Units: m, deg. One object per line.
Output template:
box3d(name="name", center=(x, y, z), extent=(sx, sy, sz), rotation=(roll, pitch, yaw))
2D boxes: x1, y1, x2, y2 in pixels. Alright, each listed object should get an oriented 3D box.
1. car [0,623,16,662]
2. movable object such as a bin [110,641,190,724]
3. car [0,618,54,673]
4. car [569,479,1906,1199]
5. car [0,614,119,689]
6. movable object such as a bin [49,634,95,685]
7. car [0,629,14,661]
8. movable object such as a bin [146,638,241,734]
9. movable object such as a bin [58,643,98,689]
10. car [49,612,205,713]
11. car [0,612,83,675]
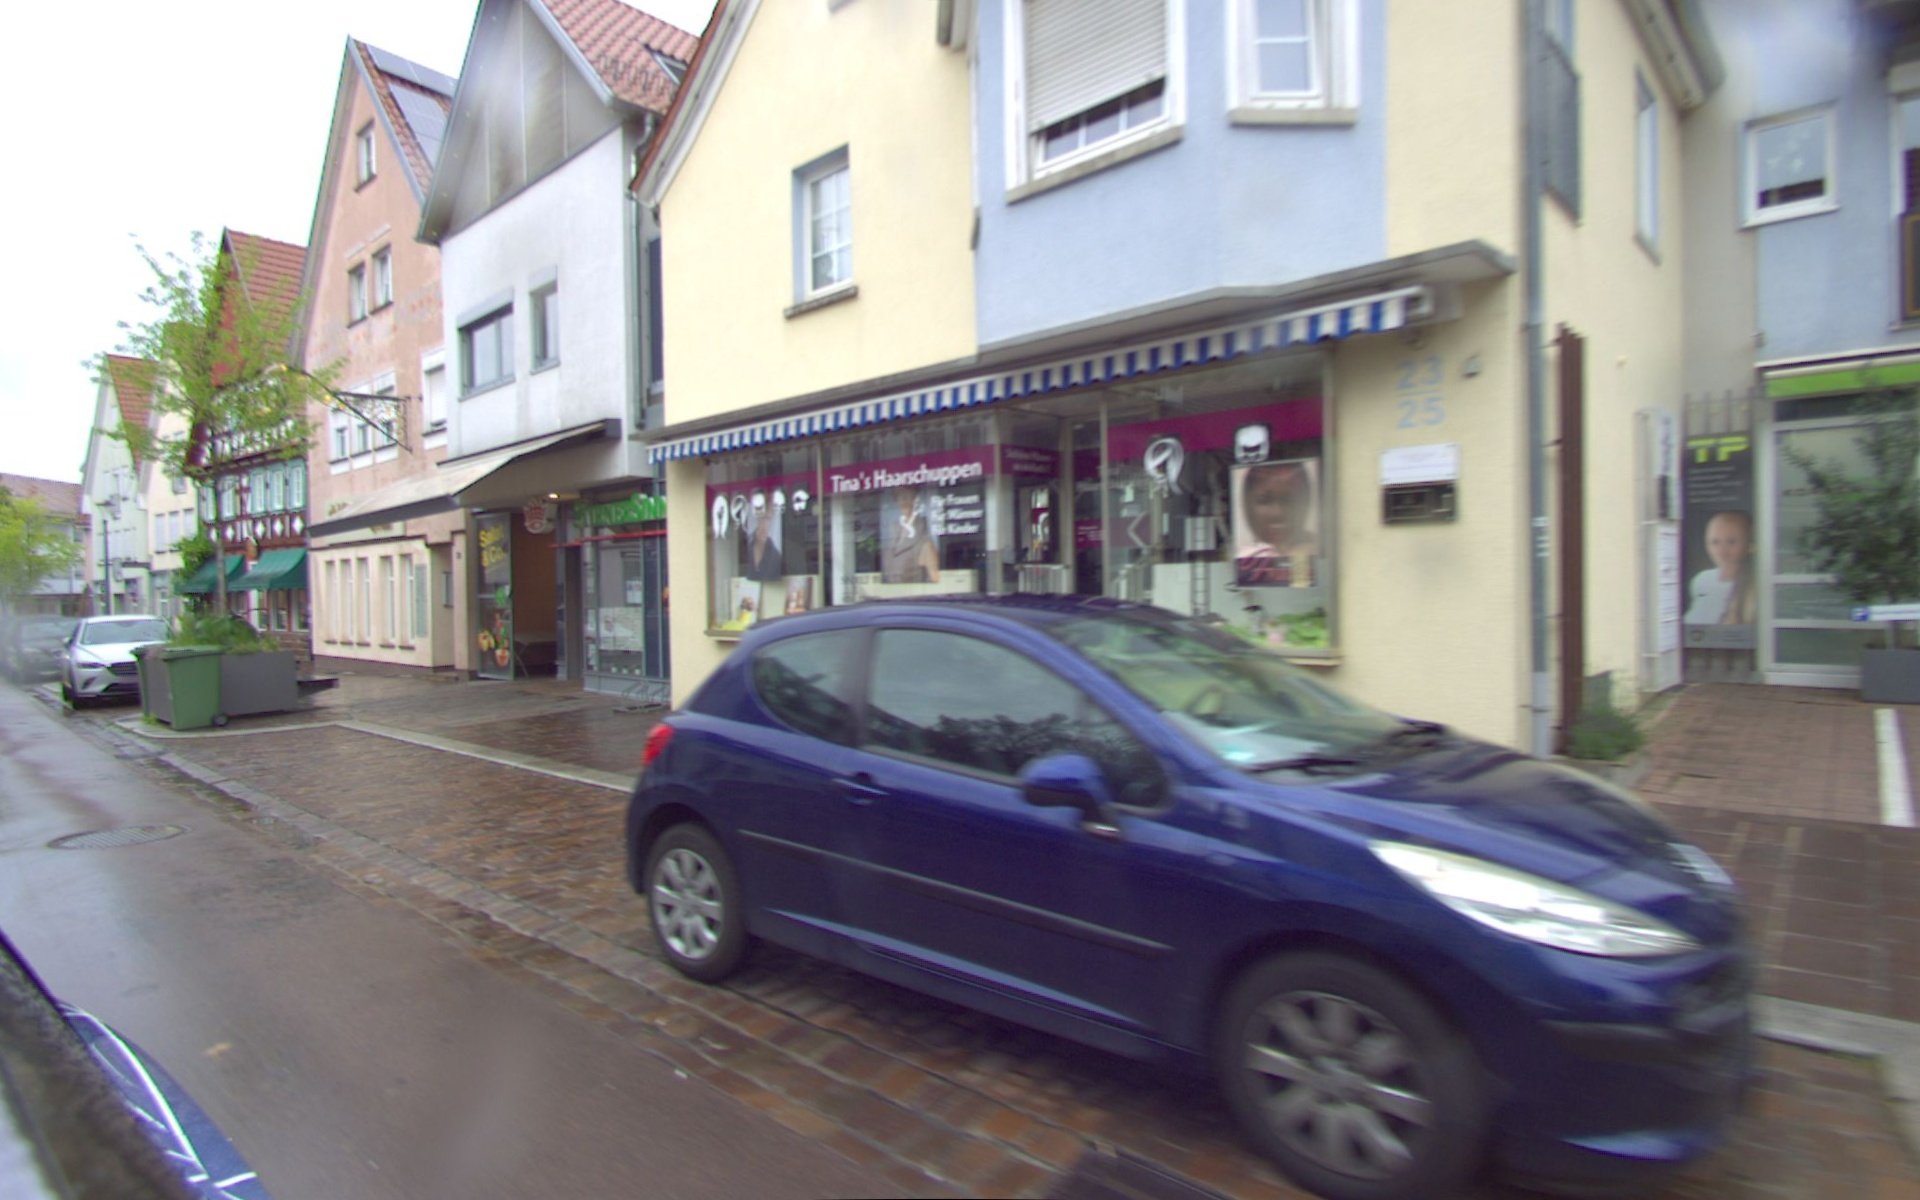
box3d(name="car", center=(-41.018, 1.783, 42.723), extent=(1.574, 1.557, 3.979), rotation=(-1, 1, -45))
box3d(name="movable object such as a bin", center=(-11.833, 1.183, 14.789), extent=(0.609, 1.114, 0.807), rotation=(0, 0, 39))
box3d(name="car", center=(-32.734, 1.534, 35.034), extent=(1.751, 1.687, 4.482), rotation=(-3, 2, -45))
box3d(name="car", center=(0.583, 0.557, 3.692), extent=(3.995, 1.483, 1.975), rotation=(-2, 0, 38))
box3d(name="car", center=(-23.042, 1.236, 25.772), extent=(4.281, 1.563, 1.814), rotation=(0, 4, 42))
box3d(name="movable object such as a bin", center=(-20.264, 1.337, 23.091), extent=(0.739, 1.090, 0.764), rotation=(-1, 0, -44))
box3d(name="car", center=(-45.048, 2.113, 46.442), extent=(4.623, 1.443, 1.783), rotation=(-3, -1, 39))
box3d(name="movable object such as a bin", center=(-9.908, 1.091, 13.090), extent=(0.609, 1.114, 0.807), rotation=(0, 4, 39))
box3d(name="movable object such as a bin", center=(-19.727, 1.468, 22.628), extent=(0.649, 0.962, 0.562), rotation=(-1, 0, -44))
box3d(name="car", center=(-15.232, 1.034, 18.438), extent=(4.002, 1.578, 1.806), rotation=(0, 1, 45))
box3d(name="car", center=(-27.694, 1.233, 30.220), extent=(4.540, 1.687, 1.813), rotation=(0, 0, 43))
